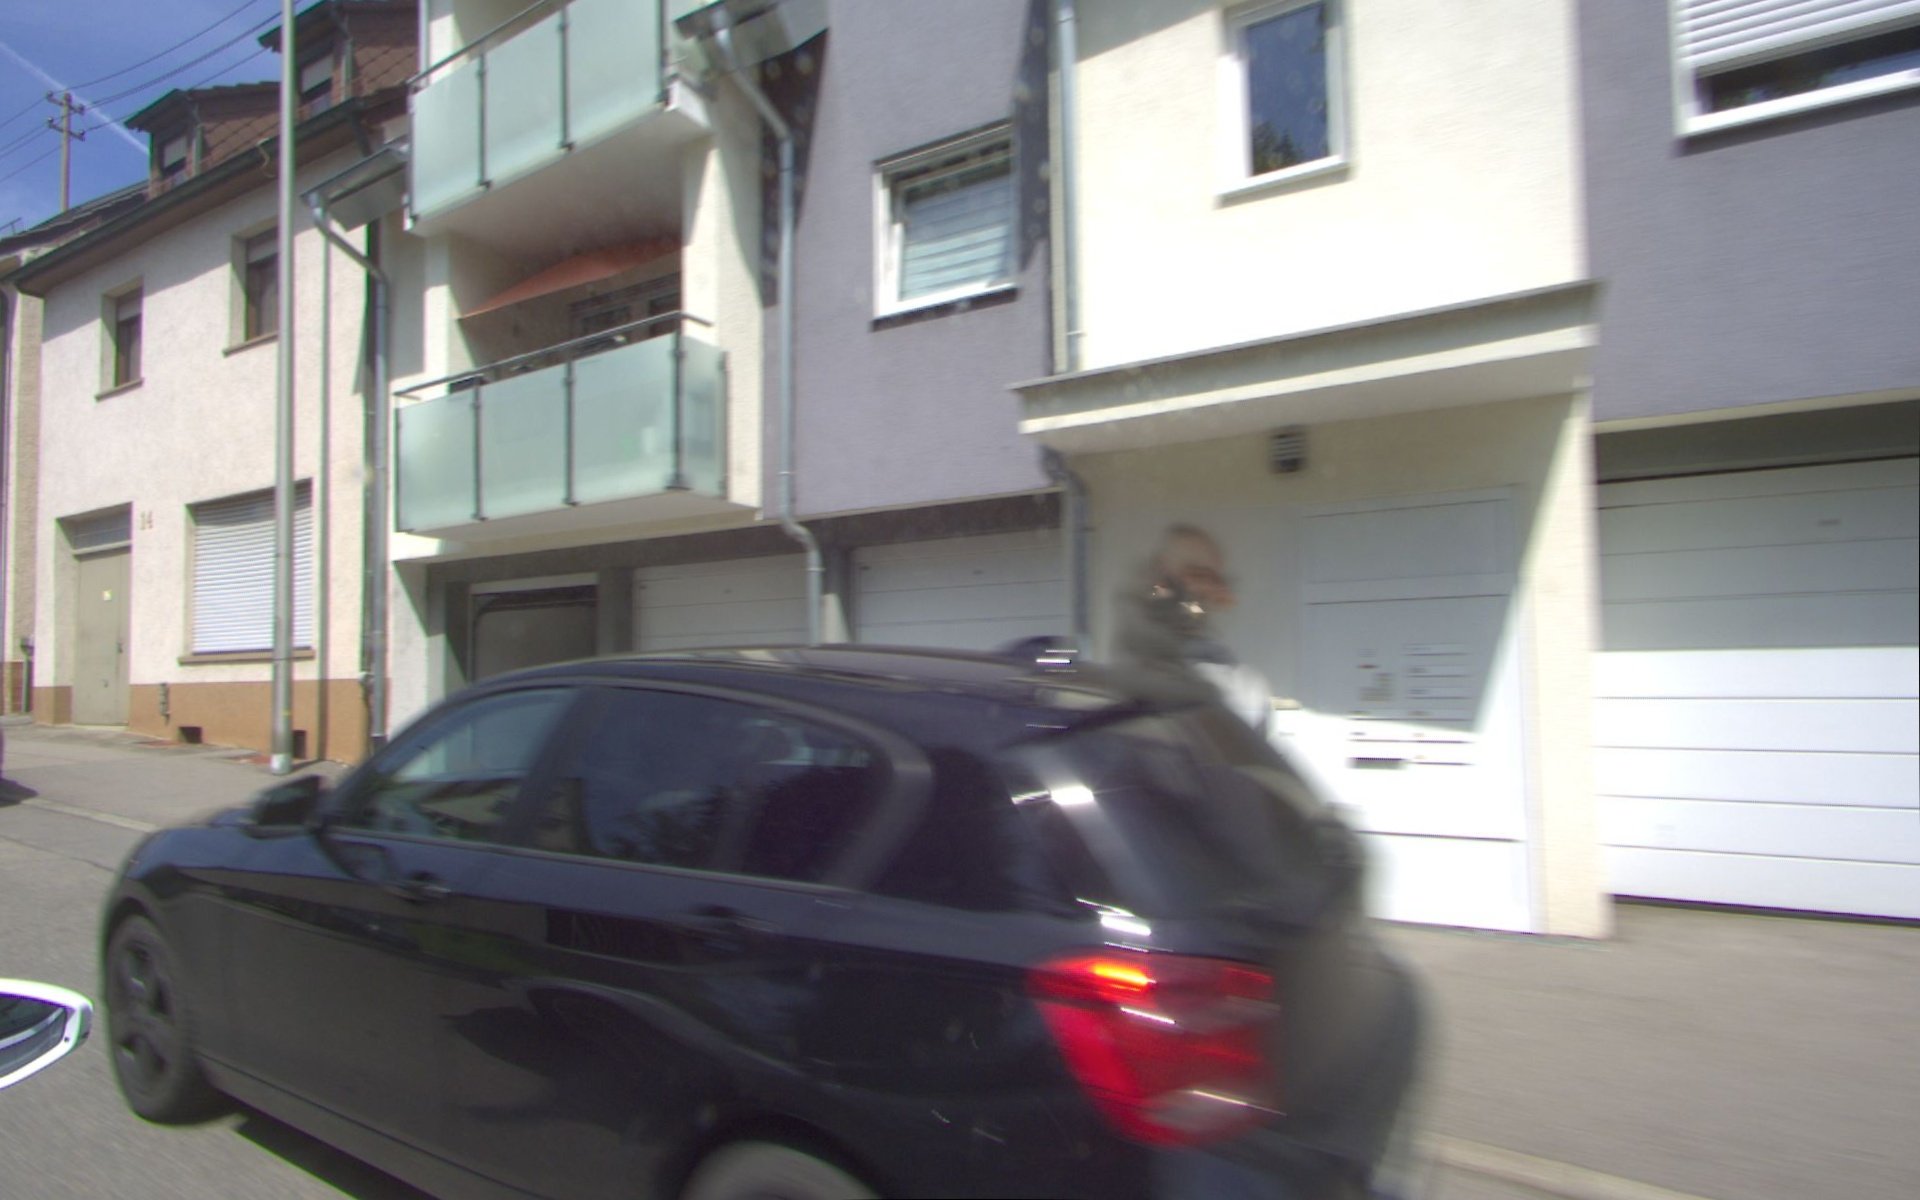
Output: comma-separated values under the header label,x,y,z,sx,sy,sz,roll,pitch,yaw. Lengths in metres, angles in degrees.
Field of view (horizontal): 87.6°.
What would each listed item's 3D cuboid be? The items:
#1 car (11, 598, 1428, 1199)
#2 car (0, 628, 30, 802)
label,x,y,z,sx,sy,sz,roll,pitch,yaw
car,-1.008,0.796,3.059,4.230,1.442,1.794,-1,-2,33
car,-10.050,0.938,8.583,4.344,1.421,1.792,-1,-2,29
